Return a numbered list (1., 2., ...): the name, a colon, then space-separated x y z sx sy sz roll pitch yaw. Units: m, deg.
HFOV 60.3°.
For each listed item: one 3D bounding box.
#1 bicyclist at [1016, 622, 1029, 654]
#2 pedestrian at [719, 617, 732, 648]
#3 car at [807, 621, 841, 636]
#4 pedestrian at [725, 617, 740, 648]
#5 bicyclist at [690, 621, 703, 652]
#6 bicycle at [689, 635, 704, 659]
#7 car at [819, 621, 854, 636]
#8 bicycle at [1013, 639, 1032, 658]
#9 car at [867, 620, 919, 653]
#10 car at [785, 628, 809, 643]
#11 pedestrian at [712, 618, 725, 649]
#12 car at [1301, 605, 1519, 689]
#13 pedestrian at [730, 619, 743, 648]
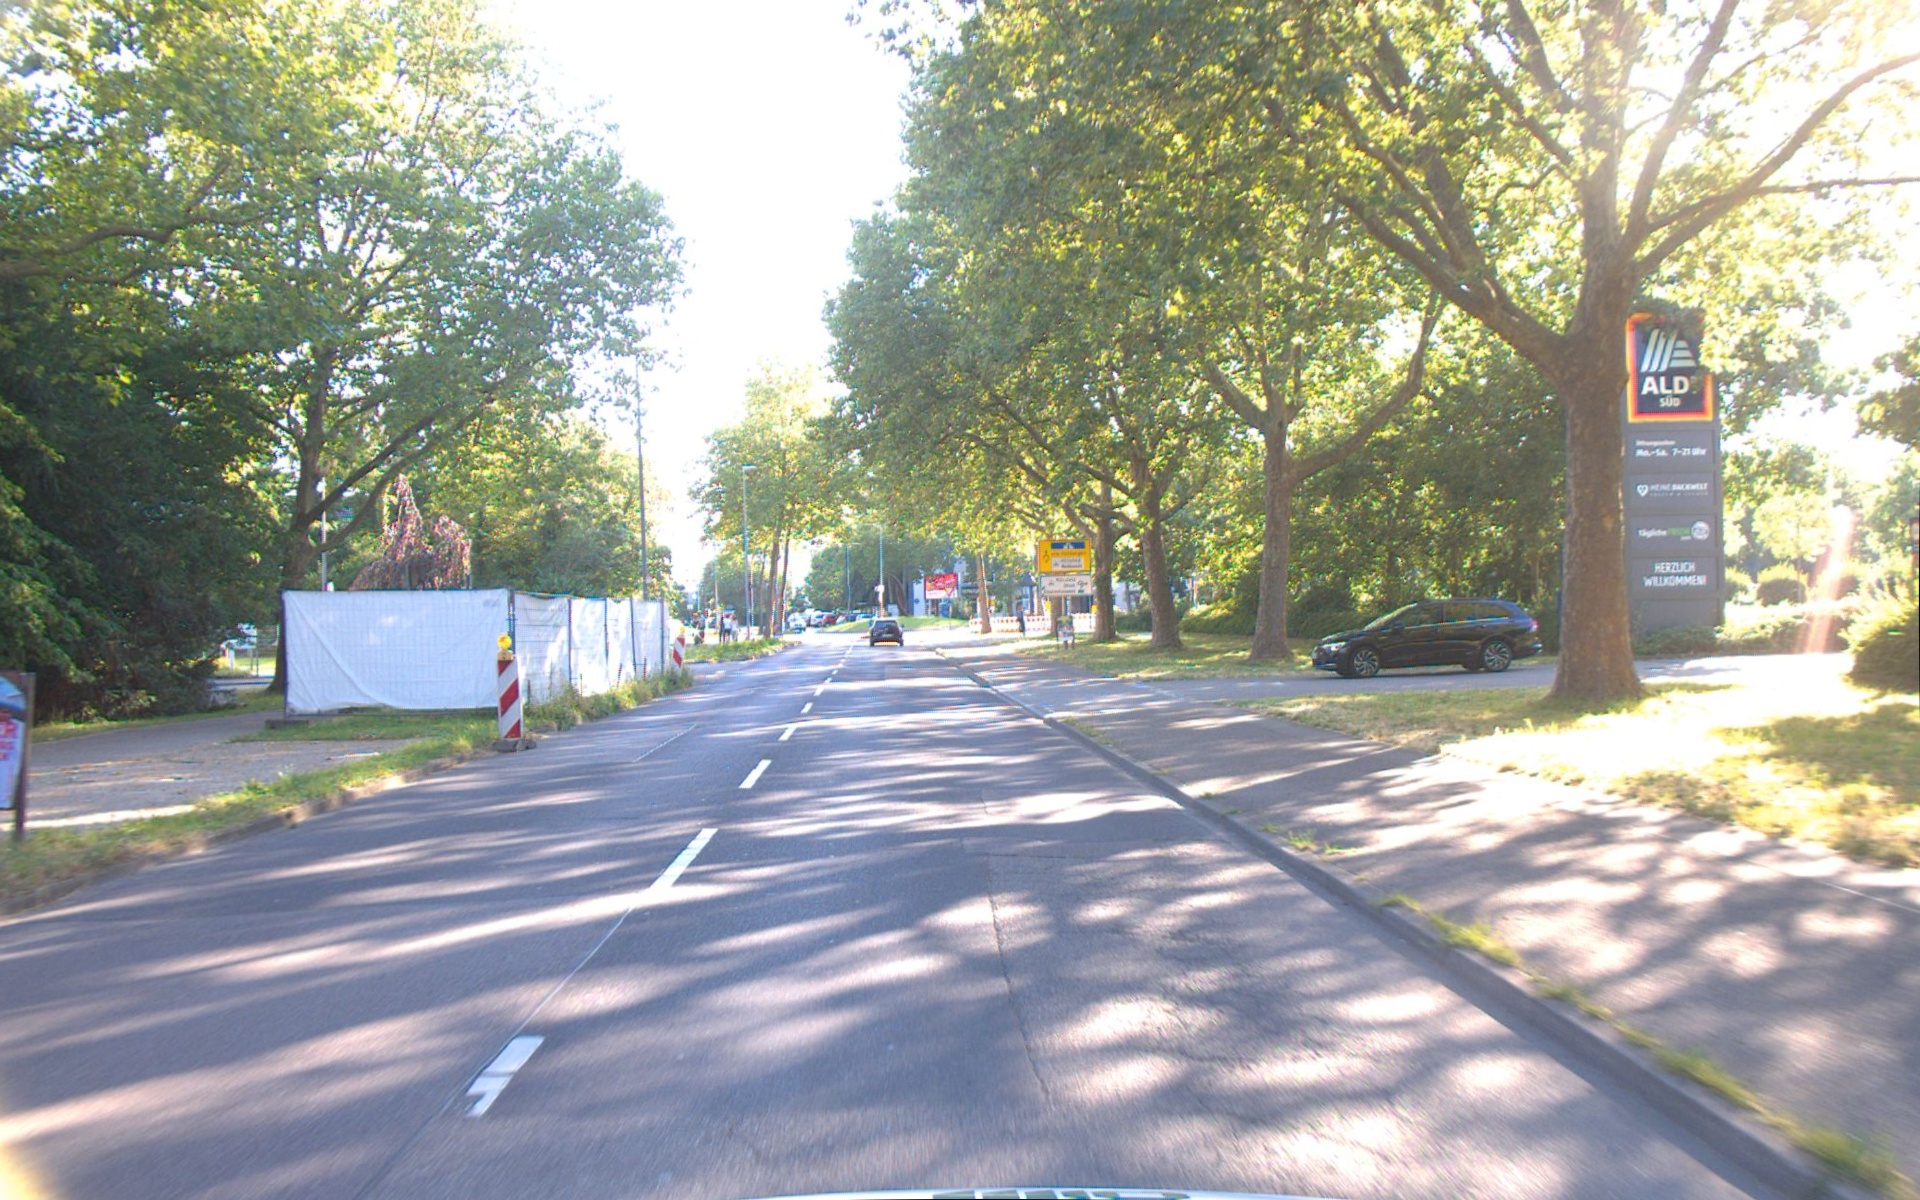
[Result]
1. bicyclist: 3.466 2.095 91.684 0.638 1.735 0.871 -1 0 -2
2. pedestrian: -13.512 1.875 95.442 0.619 1.769 0.664 -2 0 -1
3. car: -17.282 3.601 210.002 3.950 1.777 1.775 -1 0 -33
4. pedestrian: -13.232 1.911 96.214 0.733 1.769 0.851 -2 0 -1
5. bicyclist: -15.057 2.101 94.472 0.567 1.708 0.970 -3 1 -4
6. bicycle: -15.031 2.657 94.450 0.567 1.267 2.106 -3 1 -4
7. car: -15.494 3.537 207.291 3.950 1.777 1.775 -1 0 -33
8. bicycle: 3.457 2.683 91.579 0.755 0.981 2.173 -4 -1 -3
9. car: -3.496 1.891 86.449 1.800 1.633 3.866 -2 -1 11
10. car: -18.497 3.996 187.810 1.962 1.606 3.981 -2 0 -17
11. pedestrian: -14.042 1.959 96.164 0.652 1.769 0.751 -2 0 -1
12. car: 9.093 0.934 33.658 3.905 1.468 1.760 -3 0 0
13. pedestrian: -12.860 1.922 95.030 0.620 1.666 0.576 -2 0 -2
